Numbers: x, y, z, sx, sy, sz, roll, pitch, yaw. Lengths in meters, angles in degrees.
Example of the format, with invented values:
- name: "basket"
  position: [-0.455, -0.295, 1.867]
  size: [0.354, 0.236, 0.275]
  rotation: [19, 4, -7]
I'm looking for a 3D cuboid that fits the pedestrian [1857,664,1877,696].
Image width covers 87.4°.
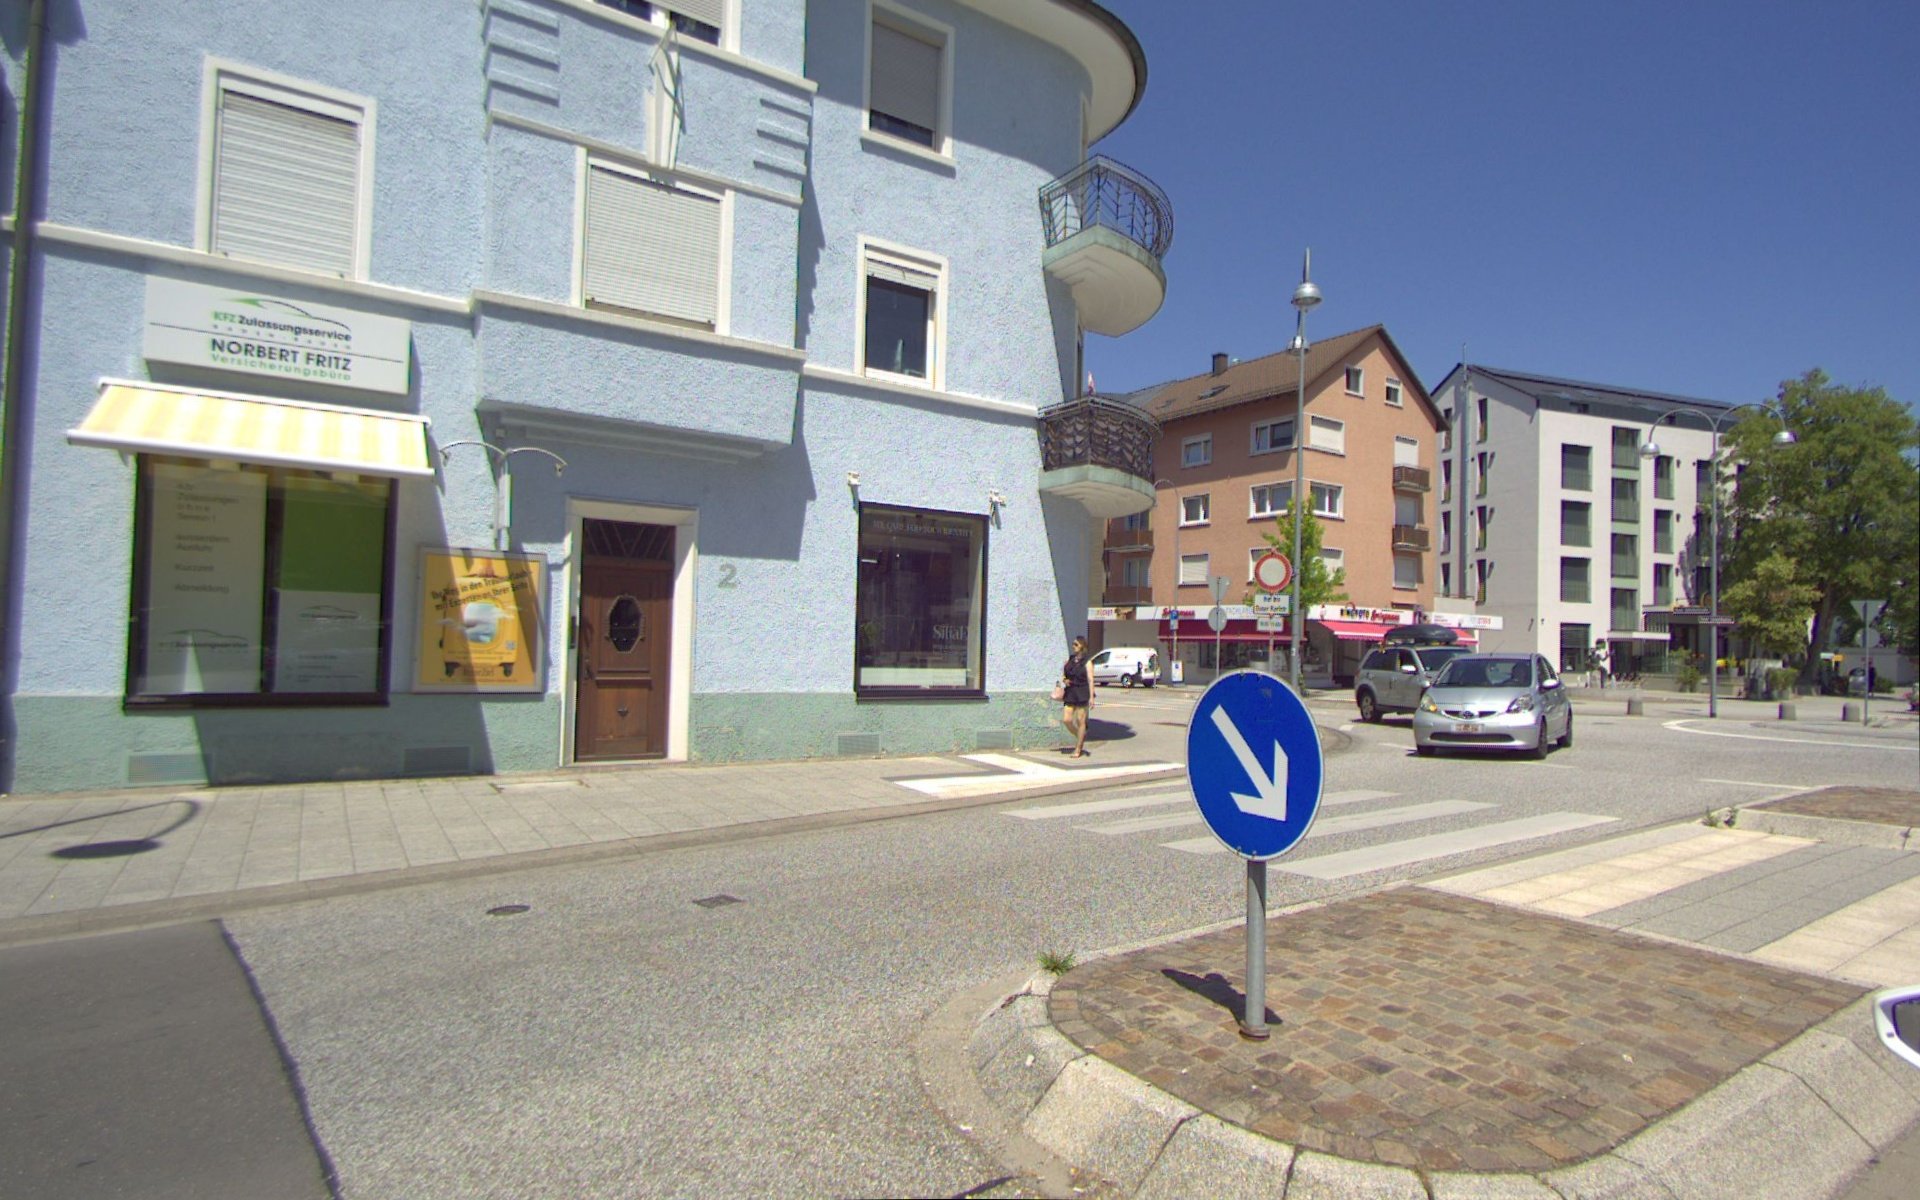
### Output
- name: "pedestrian"
  position: [45.168, 3.973, 50.021]
  size: [0.553, 1.596, 0.534]
  rotation: [2, -3, -19]

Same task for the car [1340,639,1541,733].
- name: "car"
  position: [9.812, 1.769, 20.940]
  size: [1.803, 1.710, 4.200]
  rotation: [-1, -4, -6]

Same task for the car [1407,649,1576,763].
- name: "car"
  position: [7.895, 1.486, 14.799]
  size: [1.556, 1.469, 3.456]
  rotation: [-4, -5, 38]

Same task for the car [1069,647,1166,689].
- name: "car"
  position: [6.966, 2.992, 44.678]
  size: [3.946, 1.772, 1.791]
  rotation: [-2, -4, 44]

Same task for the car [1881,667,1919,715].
- name: "car"
  position: [33.227, 3.112, 34.330]
  size: [3.965, 1.529, 1.978]
  rotation: [3, -3, -38]

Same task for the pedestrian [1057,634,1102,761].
- name: "pedestrian"
  position: [1.556, 1.254, 13.062]
  size: [0.535, 1.605, 0.515]
  rotation: [0, -3, 11]

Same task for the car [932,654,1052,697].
- name: "car"
  position: [1.179, 2.830, 38.074]
  size: [4.420, 1.421, 1.779]
  rotation: [-2, -2, -2]
